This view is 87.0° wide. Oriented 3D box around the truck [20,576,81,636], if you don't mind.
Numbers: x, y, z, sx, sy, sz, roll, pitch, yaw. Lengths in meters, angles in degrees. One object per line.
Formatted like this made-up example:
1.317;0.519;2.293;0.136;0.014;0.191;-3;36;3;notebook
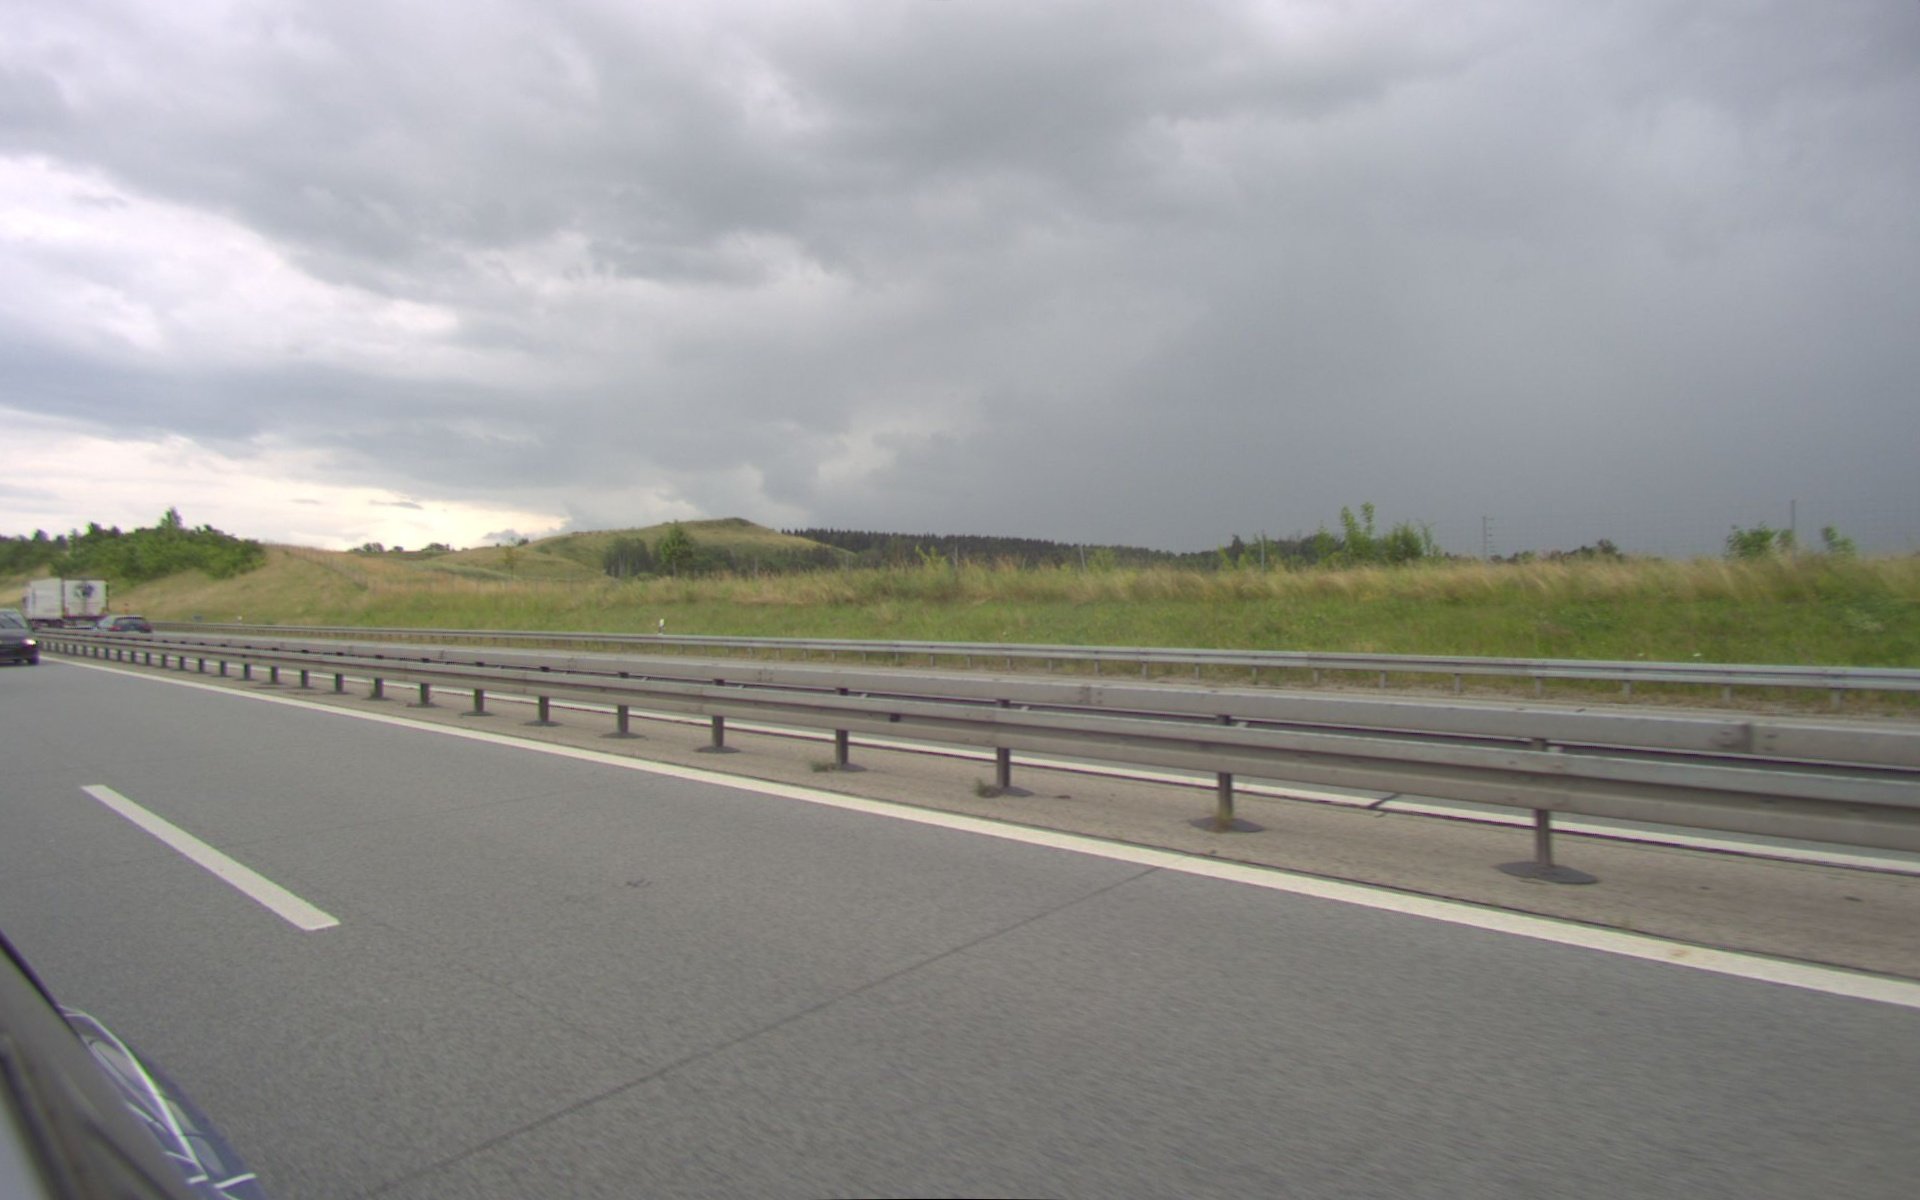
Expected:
-73.181;0.525;81.369;6.915;4.682;2.767;-1;-1;41;truck

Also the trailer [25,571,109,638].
-68.047;0.436;76.951;14.837;4.685;2.767;-1;-1;41;trailer

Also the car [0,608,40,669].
-28.279;1.083;29.332;5.395;1.683;1.876;-1;-1;42;car

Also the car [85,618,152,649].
-40.974;1.602;49.241;3.995;1.435;1.746;-1;-1;39;car
